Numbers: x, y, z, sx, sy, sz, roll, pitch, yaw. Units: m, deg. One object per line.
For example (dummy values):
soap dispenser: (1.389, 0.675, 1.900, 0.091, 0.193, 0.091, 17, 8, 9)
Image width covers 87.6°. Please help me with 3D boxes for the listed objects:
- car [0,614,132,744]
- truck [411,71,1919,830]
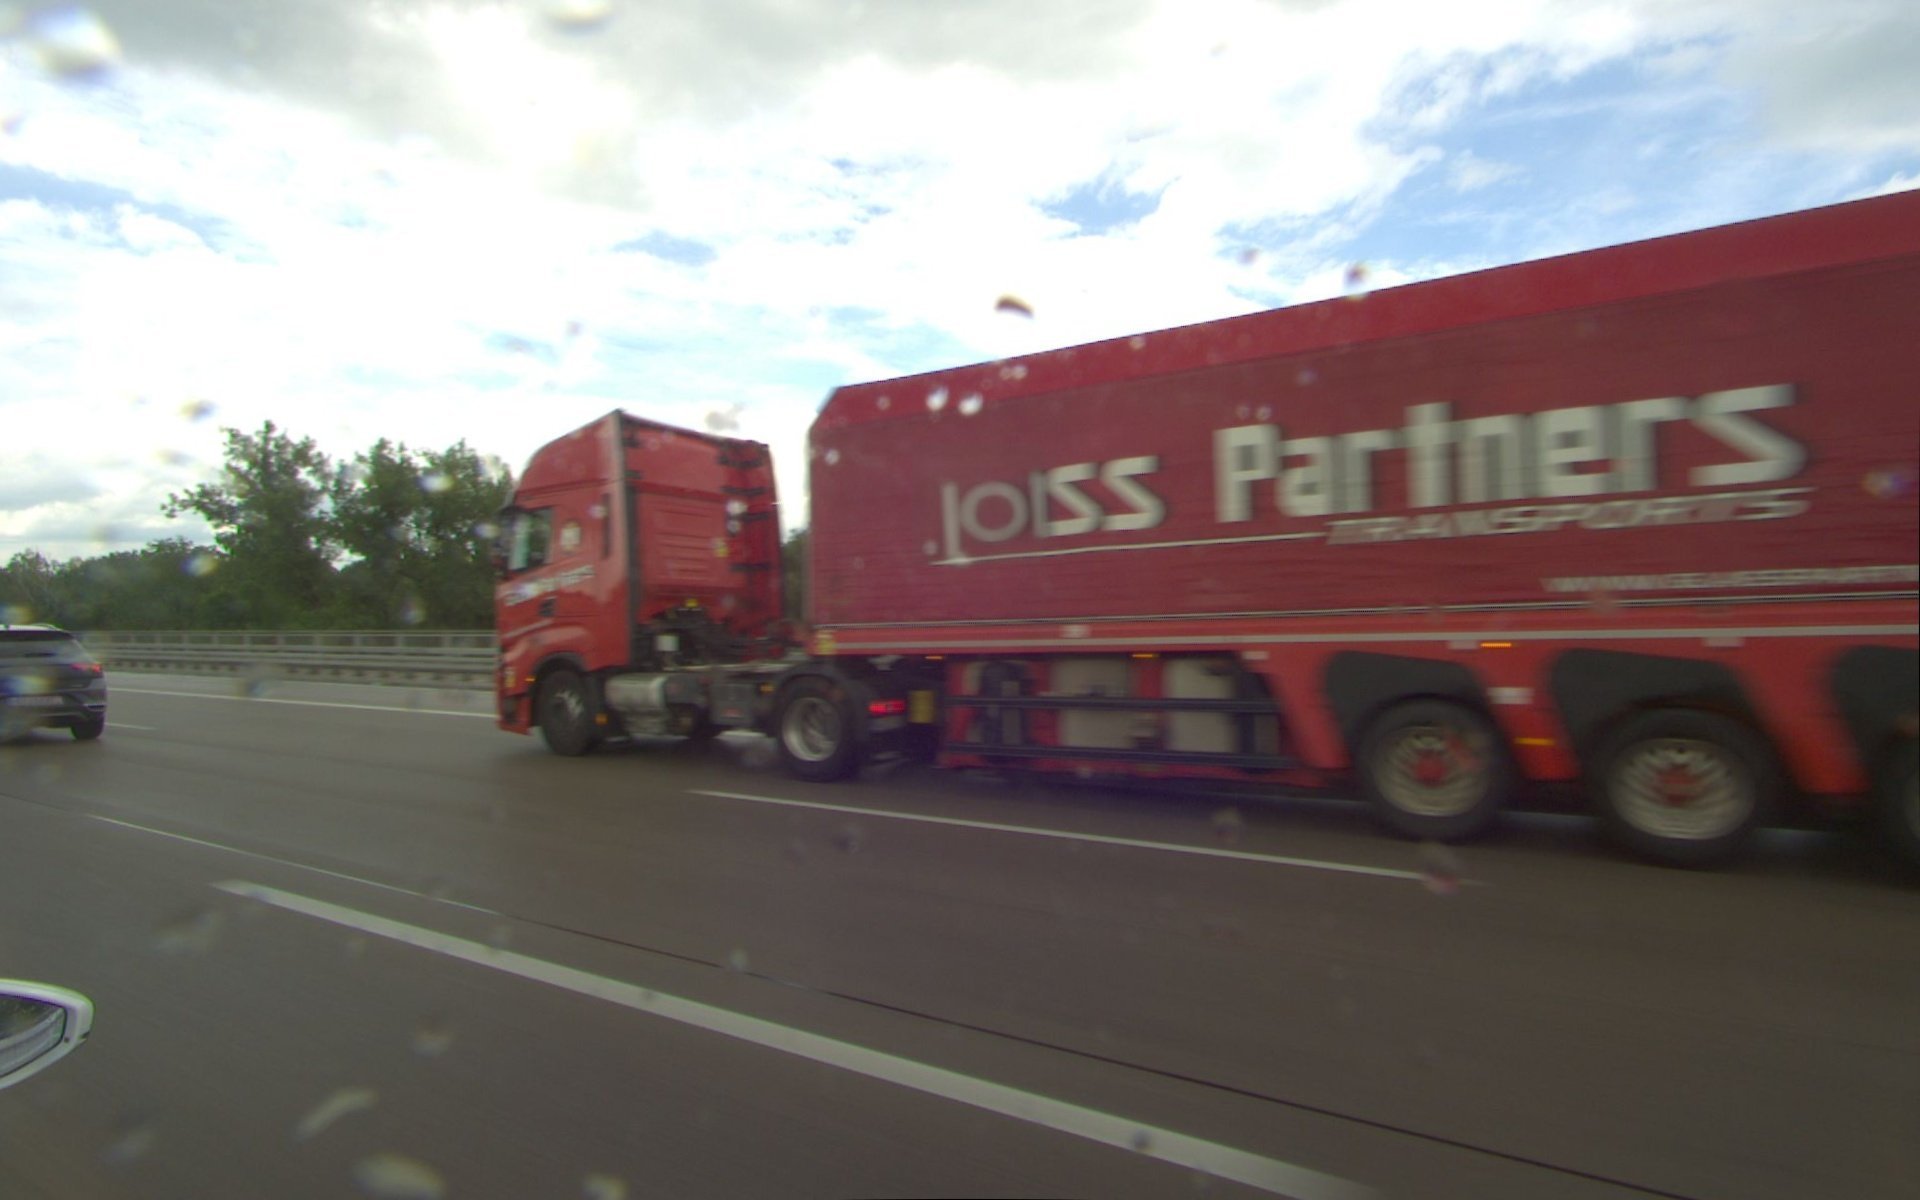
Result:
car: (-13.053, 1.002, 13.544, 3.668, 1.582, 1.789, -1, -2, 32)
truck: (0.331, -0.717, 10.150, 15.408, 4.055, 3.147, -1, -1, 32)
